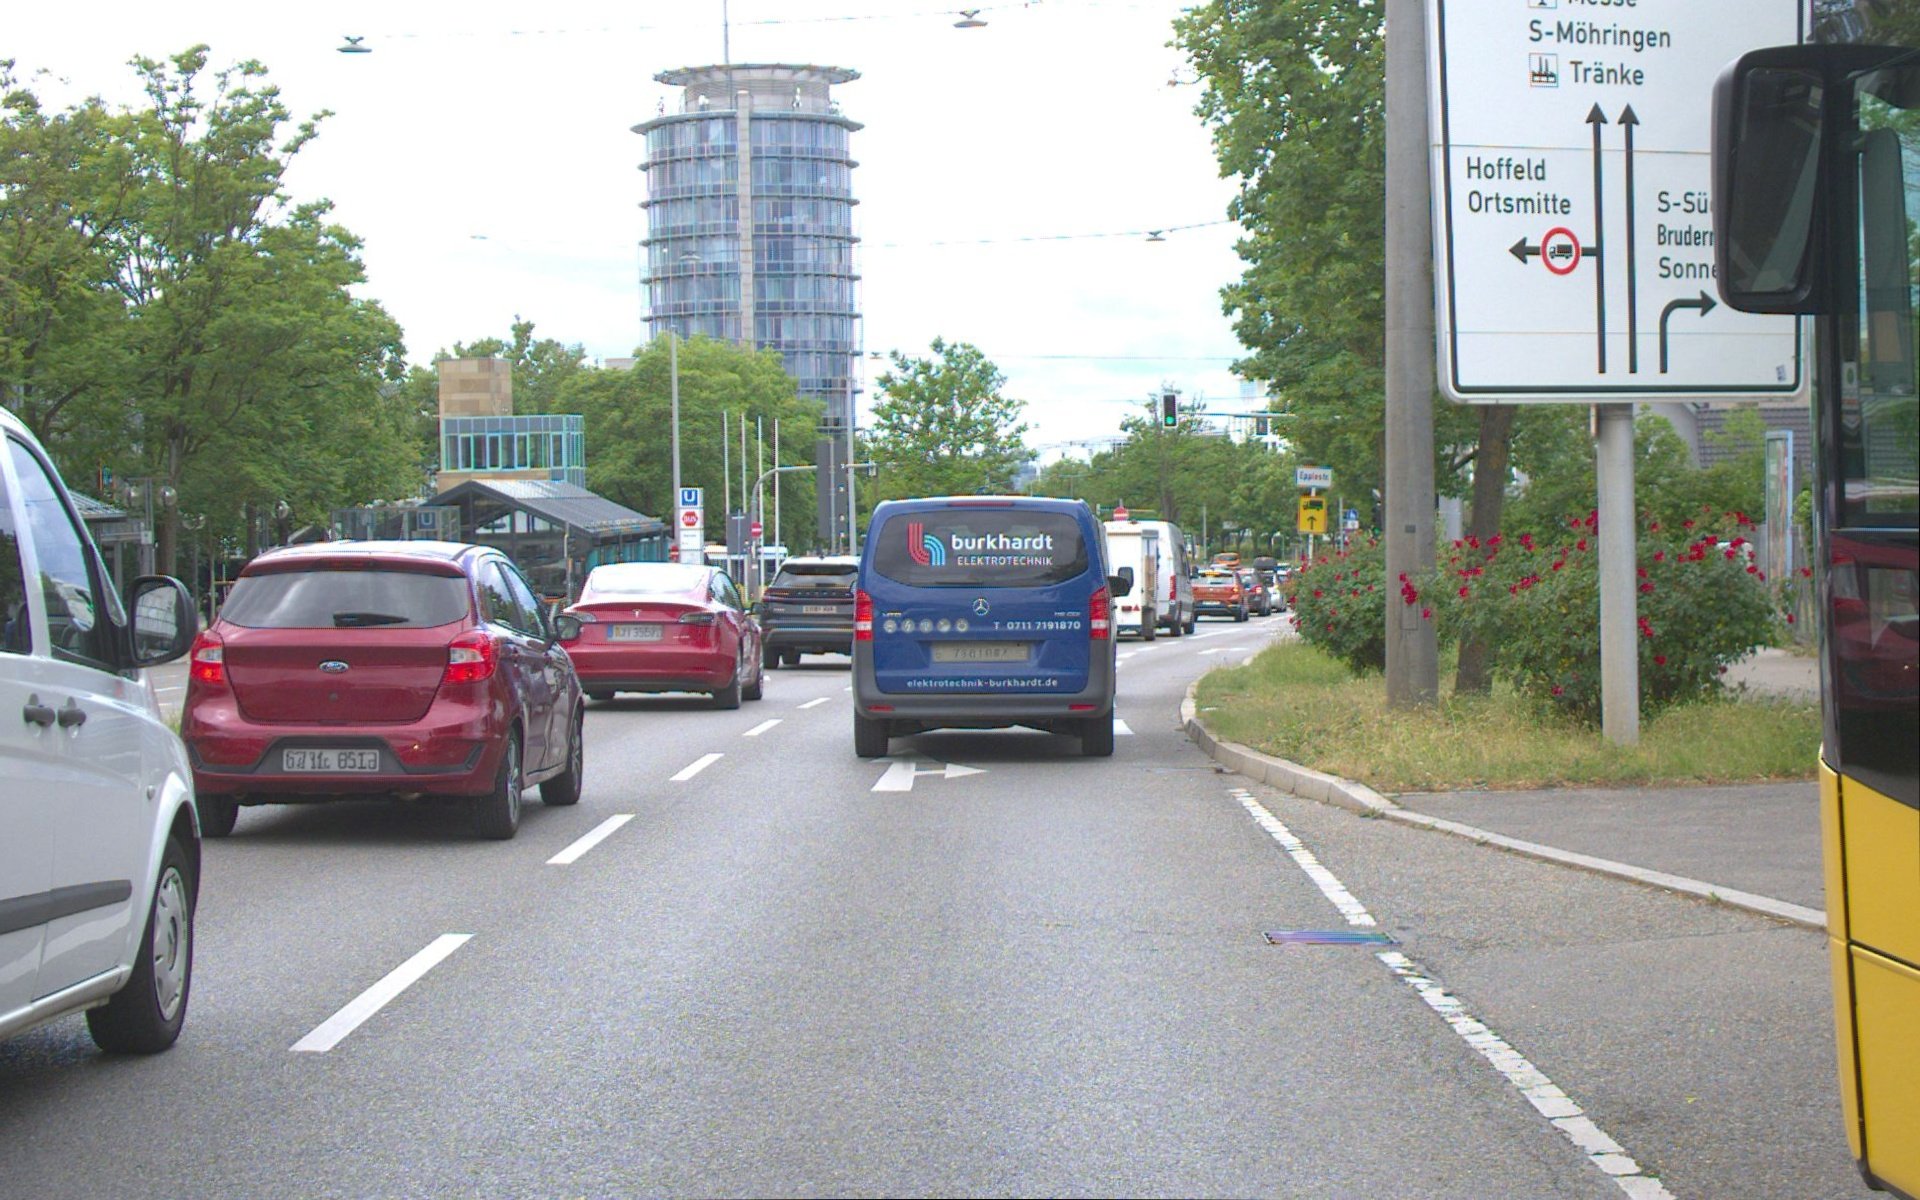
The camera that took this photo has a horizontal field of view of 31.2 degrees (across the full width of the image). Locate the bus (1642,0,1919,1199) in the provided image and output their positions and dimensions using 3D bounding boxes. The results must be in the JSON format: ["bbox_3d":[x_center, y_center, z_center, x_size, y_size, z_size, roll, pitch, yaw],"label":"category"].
[{"bbox_3d":[2.993,-0.142,2.172,2.712,3.153,9.129,-2,1,-4],"label":"bus"}]

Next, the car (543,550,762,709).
[{"bbox_3d":[-3.044,0.282,34.772,1.868,1.481,4.000,-1,0,0],"label":"car"}]

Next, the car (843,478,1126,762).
[{"bbox_3d":[0.165,0.125,26.017,1.948,1.959,4.541,0,0,0],"label":"car"}]

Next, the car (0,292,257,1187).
[{"bbox_3d":[-3.086,0.289,8.102,1.873,2.007,5.076,1,1,-1],"label":"car"}]

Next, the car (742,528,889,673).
[{"bbox_3d":[-2.085,-0.032,50.568,1.993,2.007,4.000,1,1,0],"label":"car"}]

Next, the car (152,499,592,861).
[{"bbox_3d":[-3.058,0.380,18.643,1.746,1.718,4.000,-1,0,-1],"label":"car"}]

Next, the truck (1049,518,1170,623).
[{"bbox_3d":[3.298,-0.646,74.749,1.994,2.158,5.557,1,1,9],"label":"truck"}]
